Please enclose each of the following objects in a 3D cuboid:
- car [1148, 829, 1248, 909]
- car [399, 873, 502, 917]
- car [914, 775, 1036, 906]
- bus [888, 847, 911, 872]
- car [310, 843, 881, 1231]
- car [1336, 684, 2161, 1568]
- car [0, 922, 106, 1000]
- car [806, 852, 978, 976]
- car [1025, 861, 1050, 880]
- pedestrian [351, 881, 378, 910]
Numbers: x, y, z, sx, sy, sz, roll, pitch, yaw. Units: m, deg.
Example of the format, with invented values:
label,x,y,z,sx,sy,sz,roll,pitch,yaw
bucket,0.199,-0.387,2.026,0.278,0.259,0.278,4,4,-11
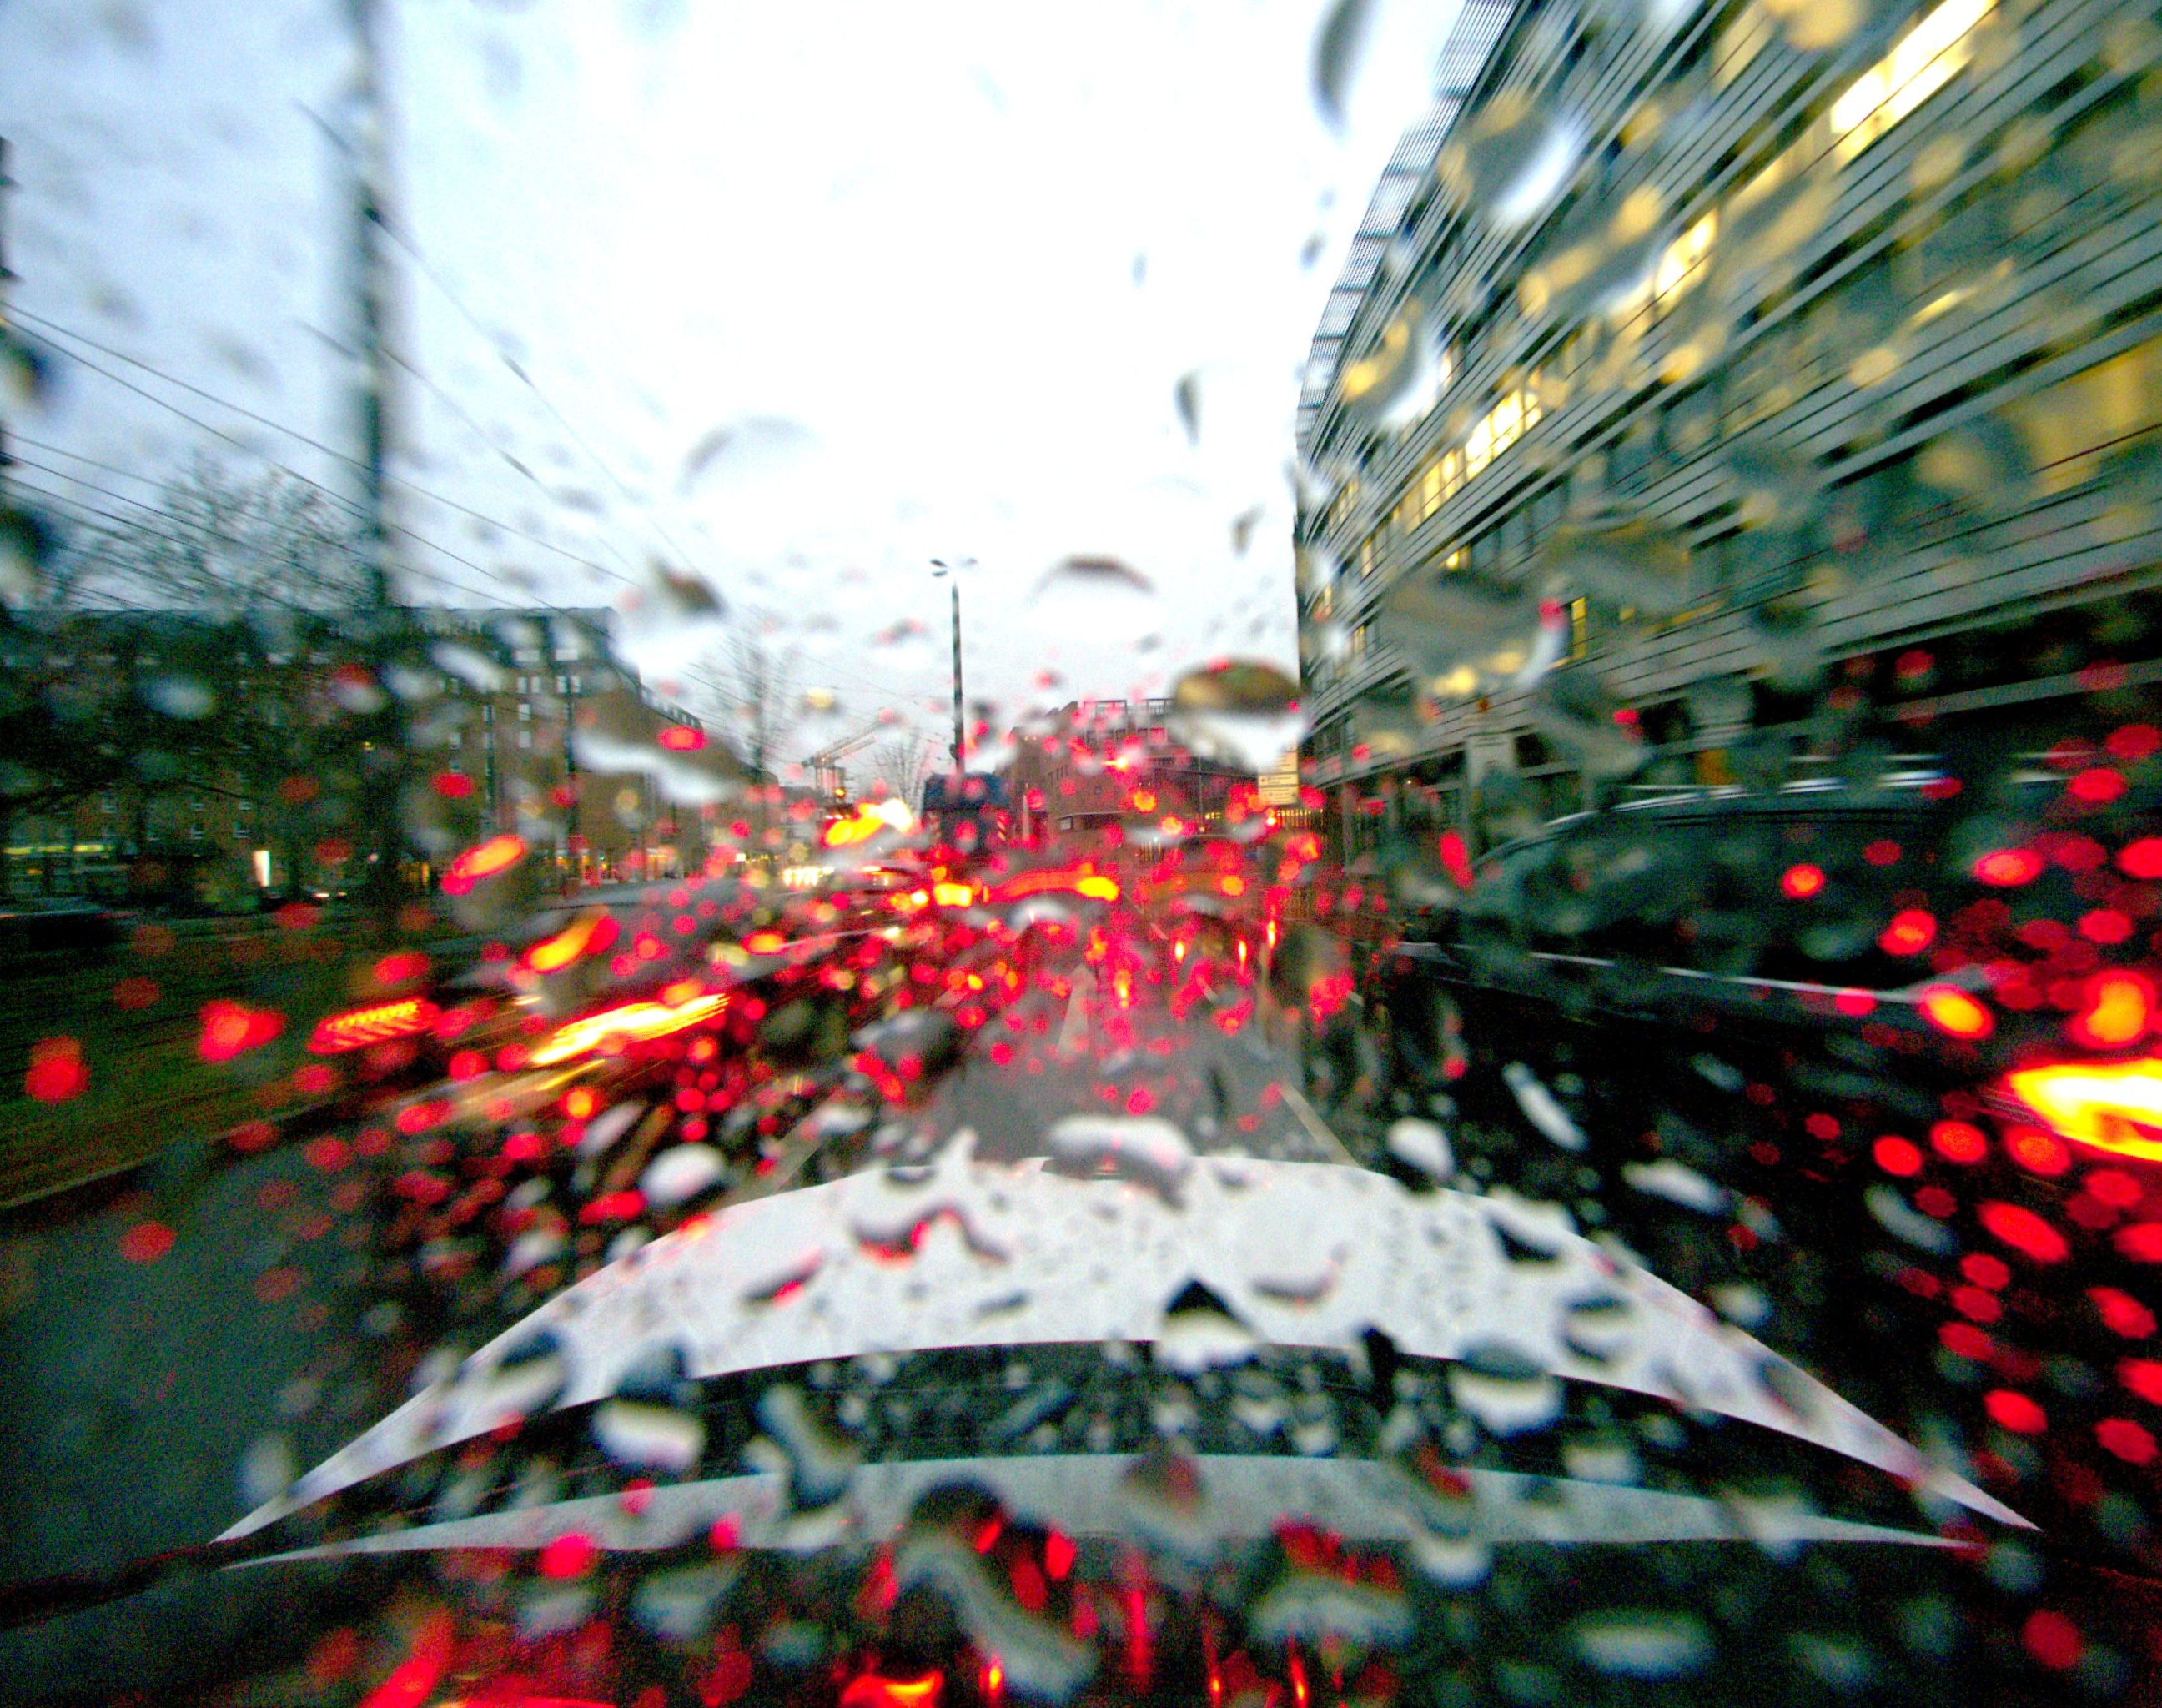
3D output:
label,x,y,z,sx,sy,sz,roll,pitch,yaw
car,2.902,0.344,21.150,1.838,1.806,4.484,-2,0,-1
car,-27.674,1.755,35.879,1.626,1.692,3.623,-2,0,2
car,-2.518,-0.293,21.244,2.348,2.827,6.356,-2,0,-1
bus,-25.219,0.779,113.713,2.825,3.372,7.969,-2,0,-11
car,-2.410,0.764,5.073,1.514,1.520,3.468,-2,-1,-2
car,2.608,0.529,3.660,1.668,1.779,4.000,-2,0,1
car,-22.909,2.282,16.605,1.626,1.449,3.623,-2,0,1
car,-2.610,0.748,12.180,1.700,1.508,3.997,-1,0,-2
car,-3.263,1.259,61.538,1.505,1.305,3.043,-2,0,3
pedestrian,-42.179,2.419,47.959,0.723,1.625,0.903,-2,0,1
